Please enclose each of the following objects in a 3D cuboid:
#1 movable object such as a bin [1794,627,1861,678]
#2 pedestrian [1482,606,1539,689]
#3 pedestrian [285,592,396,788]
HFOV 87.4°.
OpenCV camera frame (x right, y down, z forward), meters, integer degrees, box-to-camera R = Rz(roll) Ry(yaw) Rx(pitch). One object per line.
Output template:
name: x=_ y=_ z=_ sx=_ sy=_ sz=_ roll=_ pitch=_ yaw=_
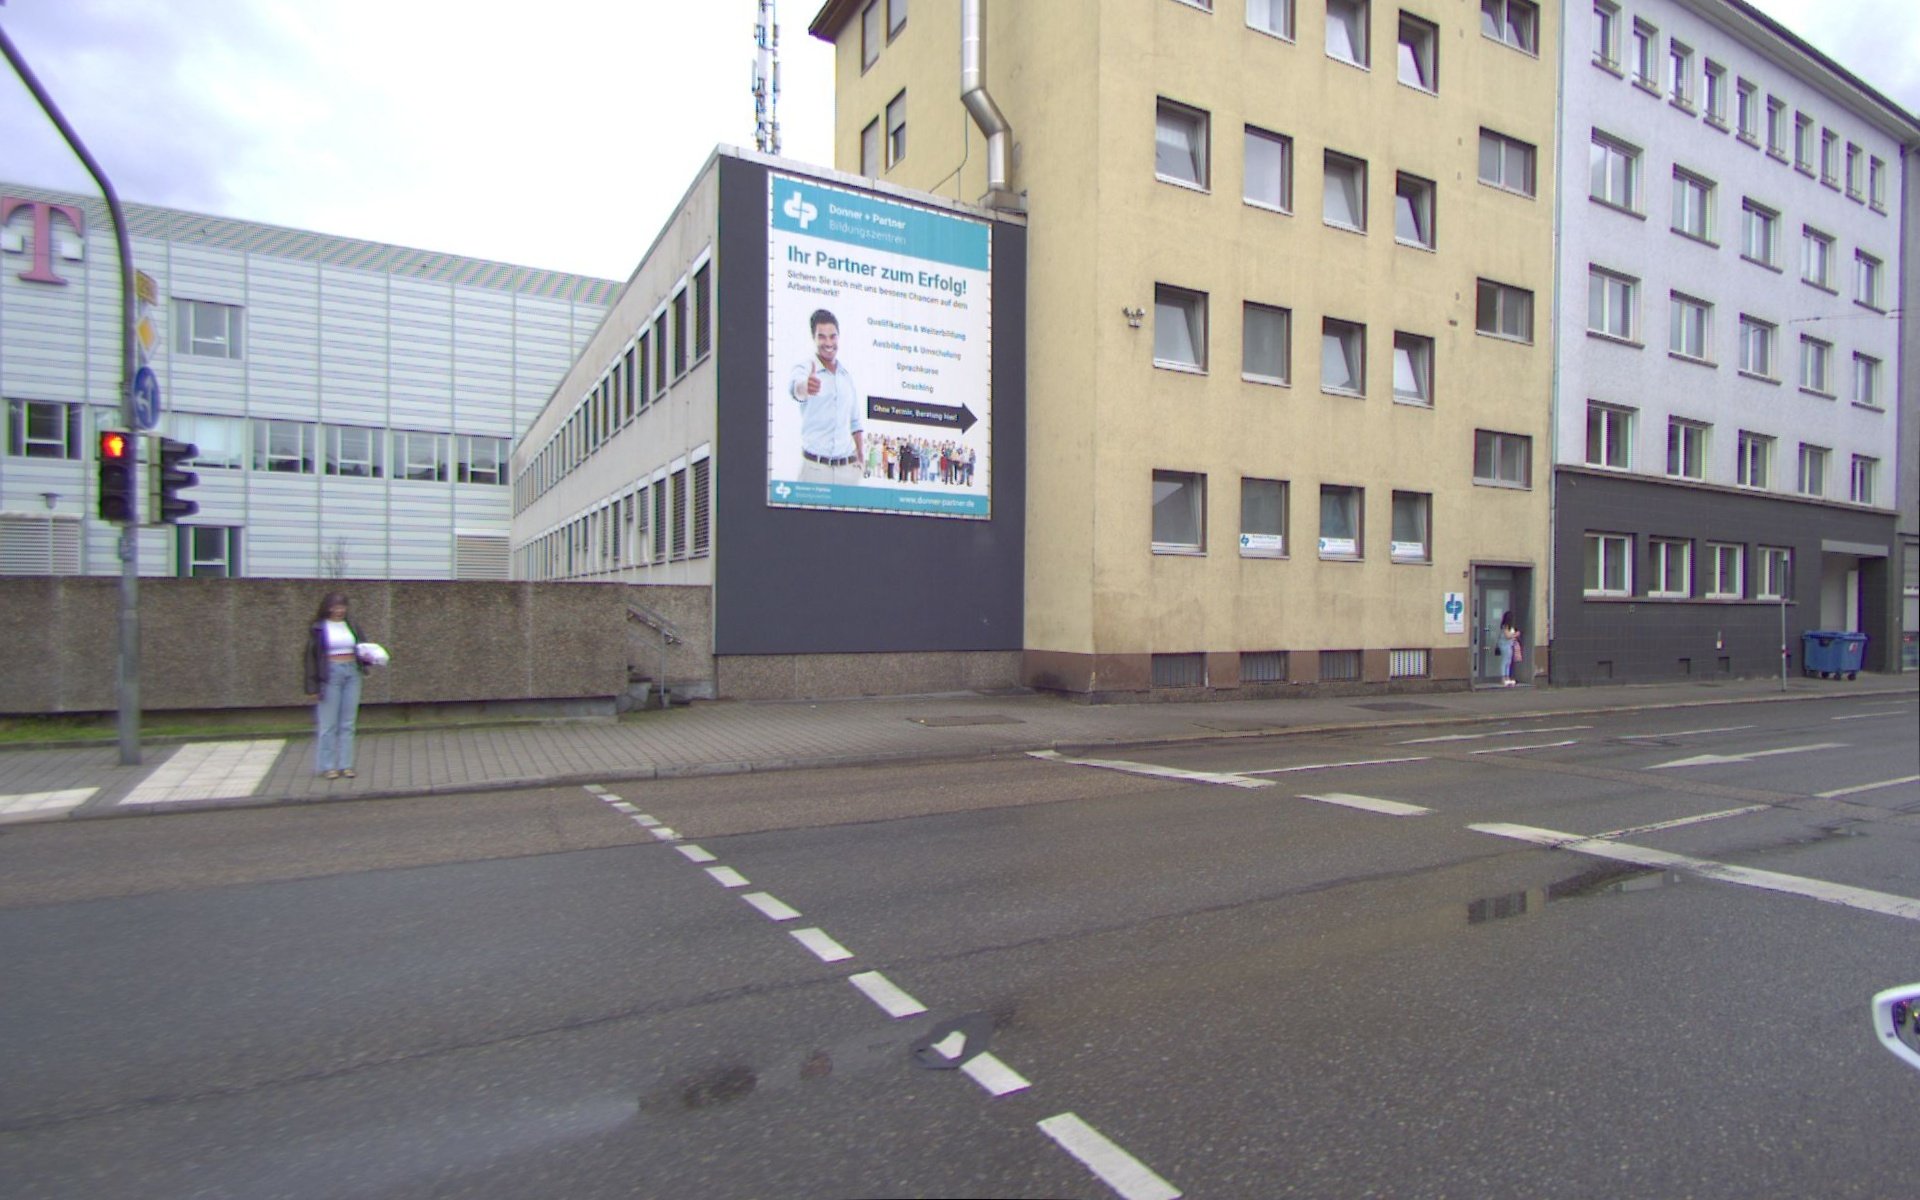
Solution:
movable object such as a bin: x=24.379 y=1.469 z=28.237 sx=1.176 sy=1.342 sz=1.071 roll=1 pitch=1 yaw=-29
pedestrian: x=11.767 y=1.009 z=21.472 sx=0.801 sy=1.712 sz=0.714 roll=1 pitch=1 yaw=-28
pedestrian: x=-5.735 y=0.799 z=9.347 sx=0.801 sy=1.712 sz=0.714 roll=1 pitch=1 yaw=-28
